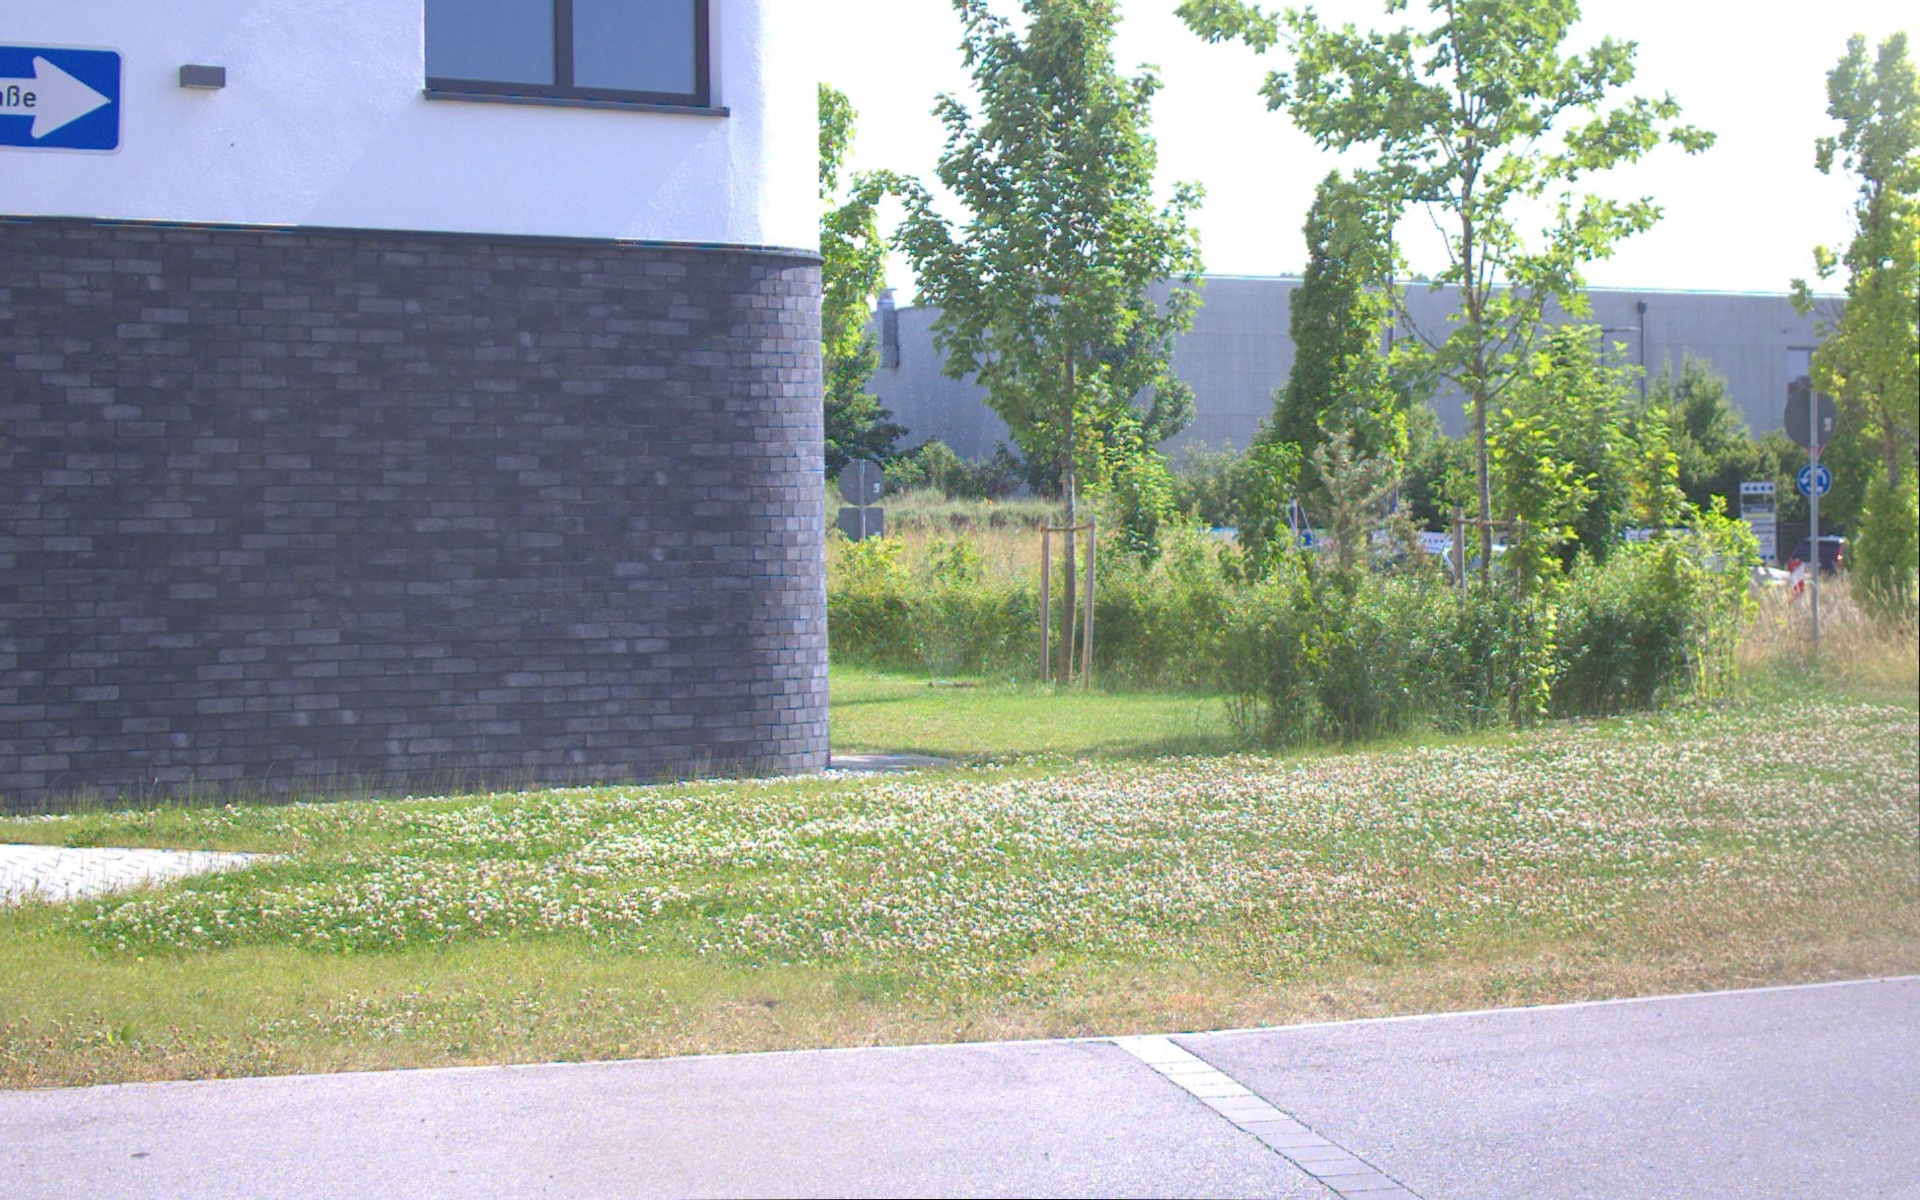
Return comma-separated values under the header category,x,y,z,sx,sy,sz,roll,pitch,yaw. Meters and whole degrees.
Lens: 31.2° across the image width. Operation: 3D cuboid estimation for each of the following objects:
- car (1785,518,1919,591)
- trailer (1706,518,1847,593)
category,x,y,z,sx,sy,sz,roll,pitch,yaw
car,23.431,-1.207,90.187,1.827,1.853,3.990,1,2,41
trailer,20.734,-1.147,87.228,1.827,1.853,3.990,1,2,41
